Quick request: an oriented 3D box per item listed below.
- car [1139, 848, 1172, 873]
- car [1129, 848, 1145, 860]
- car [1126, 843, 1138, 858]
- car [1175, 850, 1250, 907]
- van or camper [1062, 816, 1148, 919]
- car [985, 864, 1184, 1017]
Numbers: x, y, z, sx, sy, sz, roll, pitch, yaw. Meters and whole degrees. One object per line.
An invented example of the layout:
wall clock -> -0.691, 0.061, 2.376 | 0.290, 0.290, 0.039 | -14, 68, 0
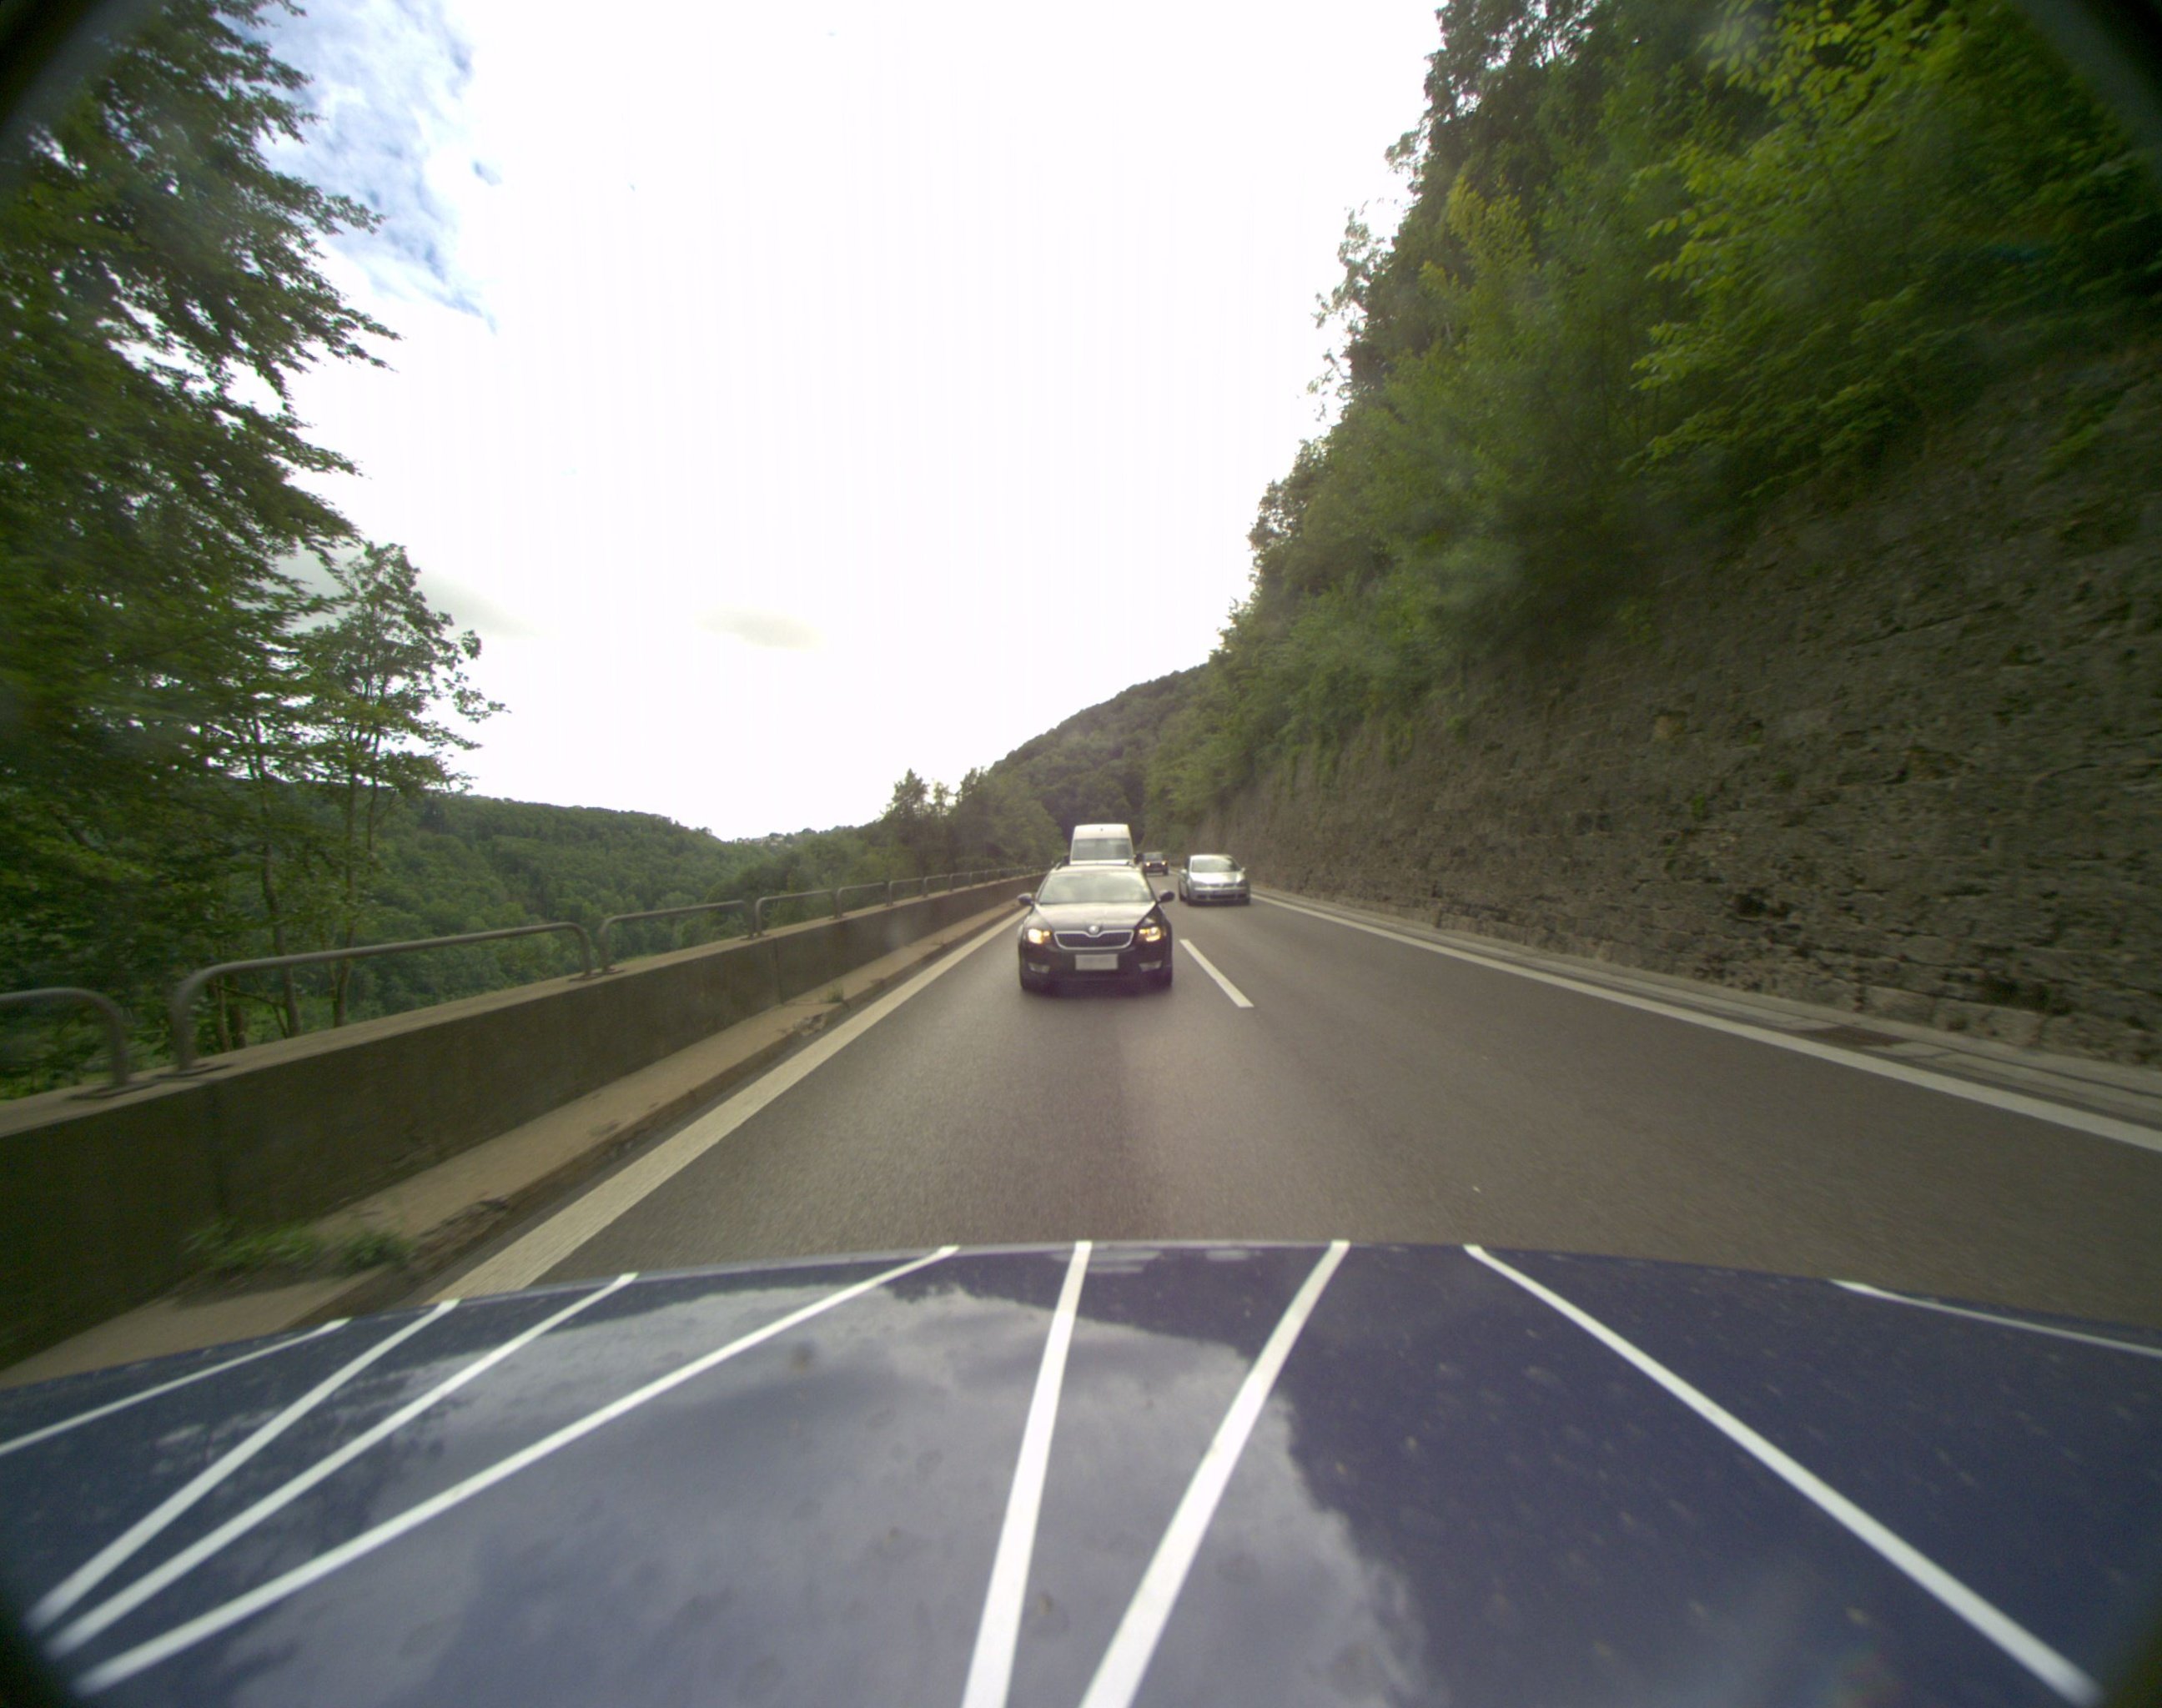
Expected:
car -> 5.173, 0.428, 53.301 | 1.813, 1.646, 4.583 | -3, 0, 1
car -> 8.119, 0.069, 111.066 | 1.813, 1.646, 4.582 | -3, 0, -2
car -> 9.746, -0.656, 146.238 | 1.976, 2.628, 4.584 | -2, 0, 1
car -> 3.893, 0.669, 23.147 | 1.685, 1.506, 4.584 | -3, 0, 3
van or camper -> 0.761, 0.327, 23.045 | 2.081, 2.575, 5.912 | -4, 1, 2
car -> 0.150, 0.939, 10.368 | 1.998, 1.389, 5.009 | -3, 0, 3
